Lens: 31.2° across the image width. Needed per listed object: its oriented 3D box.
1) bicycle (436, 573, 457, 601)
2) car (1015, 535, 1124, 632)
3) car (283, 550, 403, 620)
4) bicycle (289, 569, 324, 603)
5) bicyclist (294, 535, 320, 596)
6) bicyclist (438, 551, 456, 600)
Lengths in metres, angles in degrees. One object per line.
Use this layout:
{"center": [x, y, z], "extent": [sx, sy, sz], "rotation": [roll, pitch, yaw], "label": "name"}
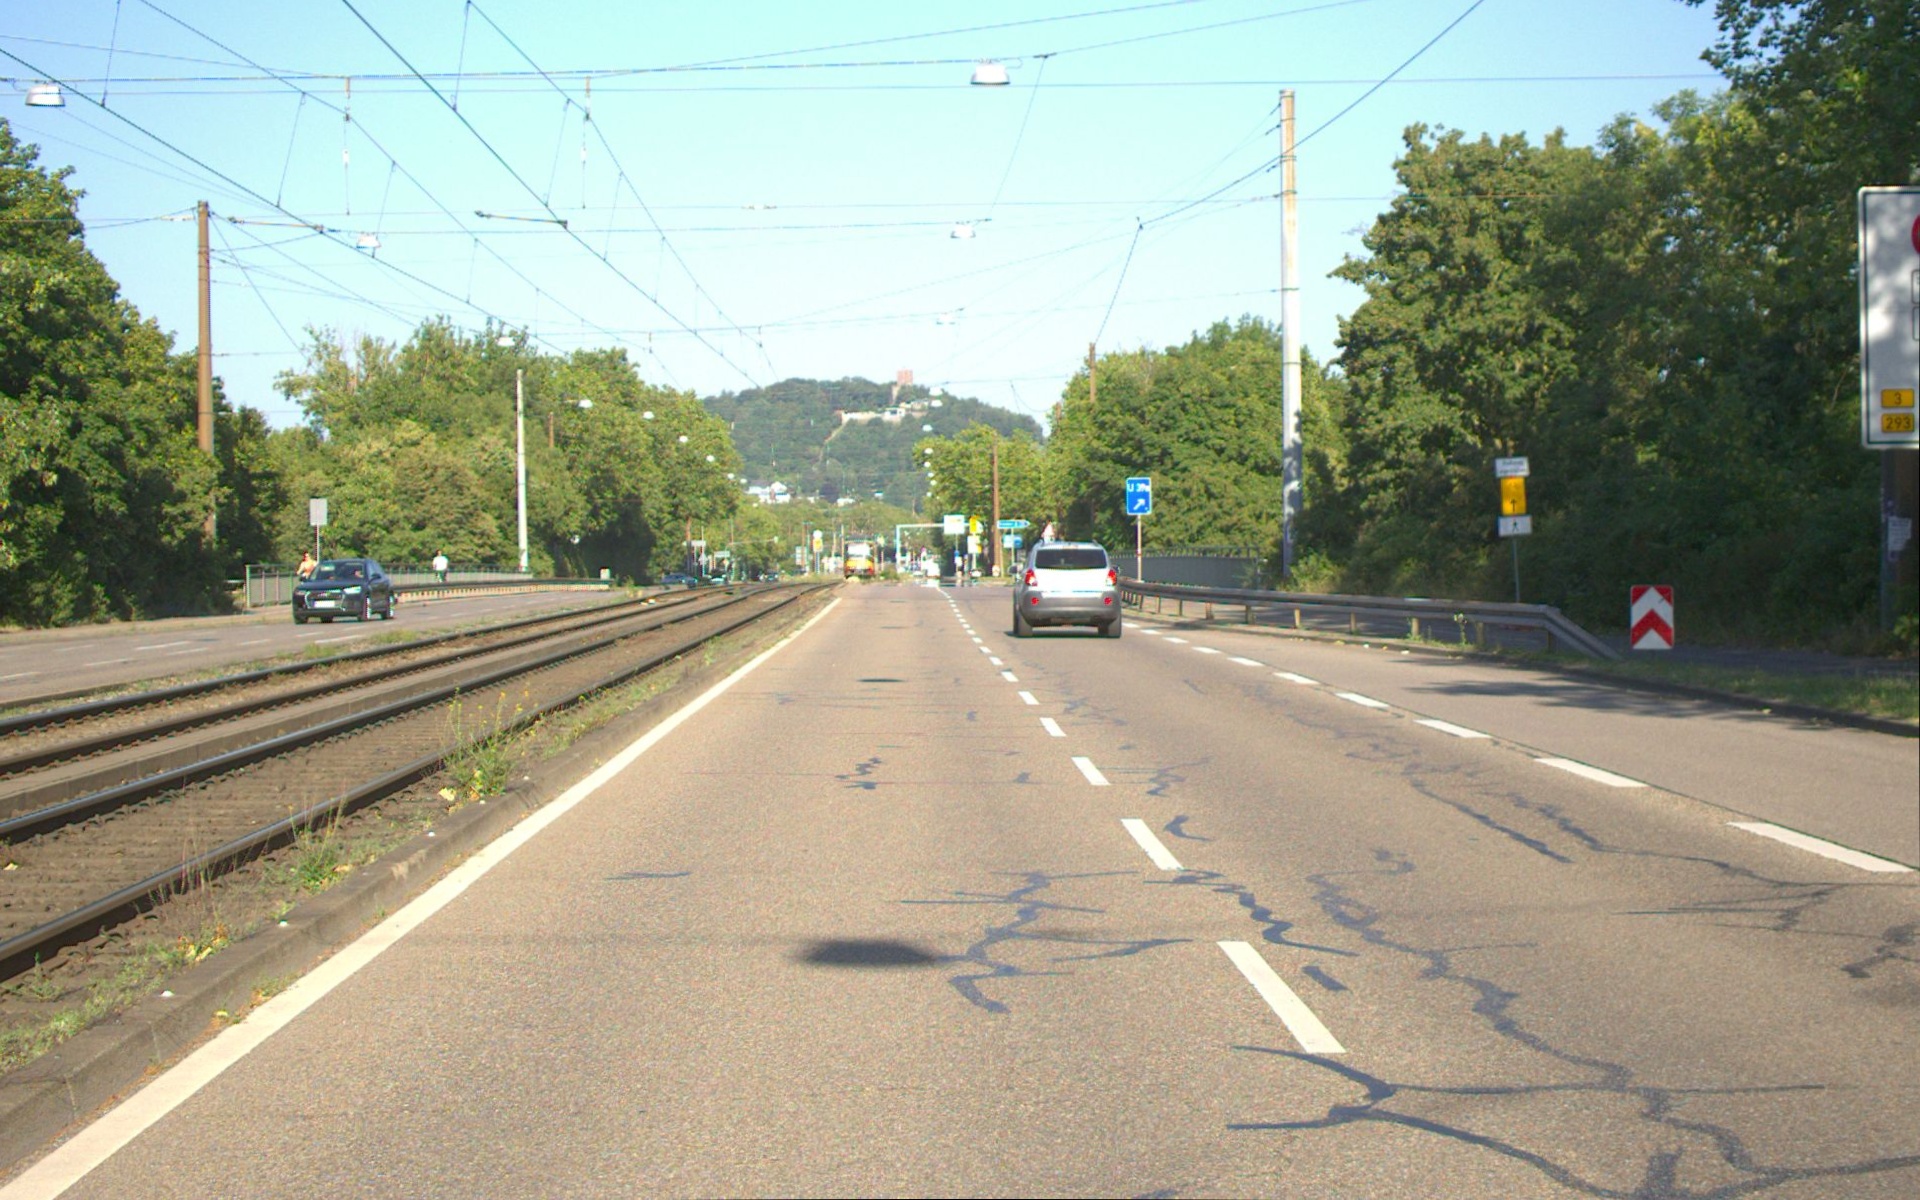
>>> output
{"center": [-19.797, -0.501, 132.647], "extent": [0.540, 1.040, 1.925], "rotation": [1, 1, -1], "label": "bicycle"}
{"center": [1.965, -0.319, 62.087], "extent": [1.888, 1.688, 4.256], "rotation": [0, 1, 2], "label": "car"}
{"center": [-15.884, -0.397, 88.696], "extent": [1.994, 1.680, 4.795], "rotation": [-2, 1, 2], "label": "car"}
{"center": [-18.299, -0.398, 96.291], "extent": [0.507, 0.889, 2.027], "rotation": [-1, 1, 2], "label": "bicycle"}
{"center": [-18.279, -0.968, 96.227], "extent": [0.507, 1.681, 0.919], "rotation": [1, 1, 2], "label": "bicyclist"}
{"center": [-19.783, -0.941, 132.649], "extent": [0.540, 1.856, 0.875], "rotation": [1, 1, -1], "label": "bicyclist"}
